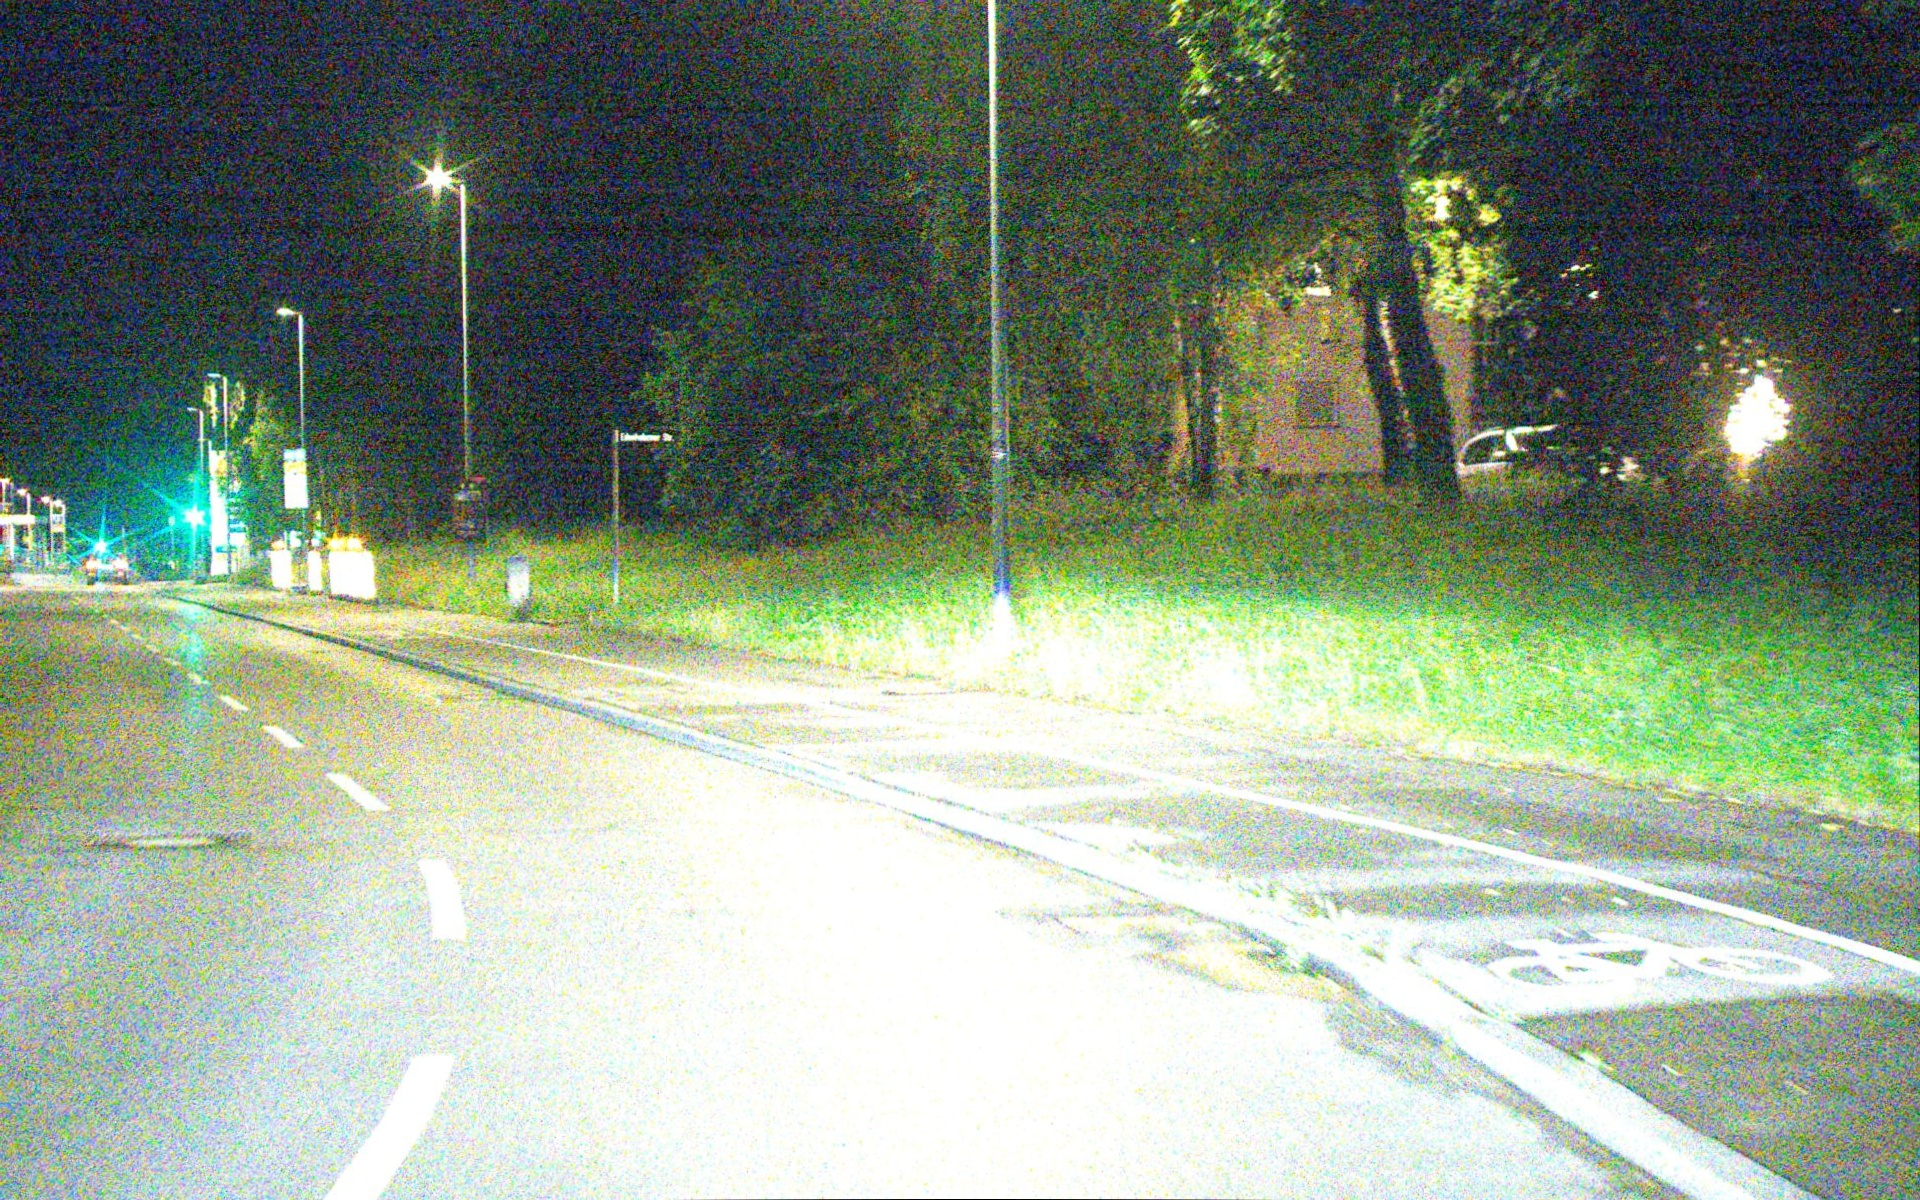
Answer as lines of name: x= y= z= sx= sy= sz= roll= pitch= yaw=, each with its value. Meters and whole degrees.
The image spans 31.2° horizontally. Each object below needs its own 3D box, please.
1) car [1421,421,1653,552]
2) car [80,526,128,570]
car: x=8.712 y=-1.702 z=52.249 sx=1.951 sy=1.831 sz=4.116 roll=-3 pitch=2 yaw=-13
car: x=-39.656 y=-2.412 z=159.289 sx=2.087 sy=2.007 sz=4.001 roll=-1 pitch=1 yaw=-14
